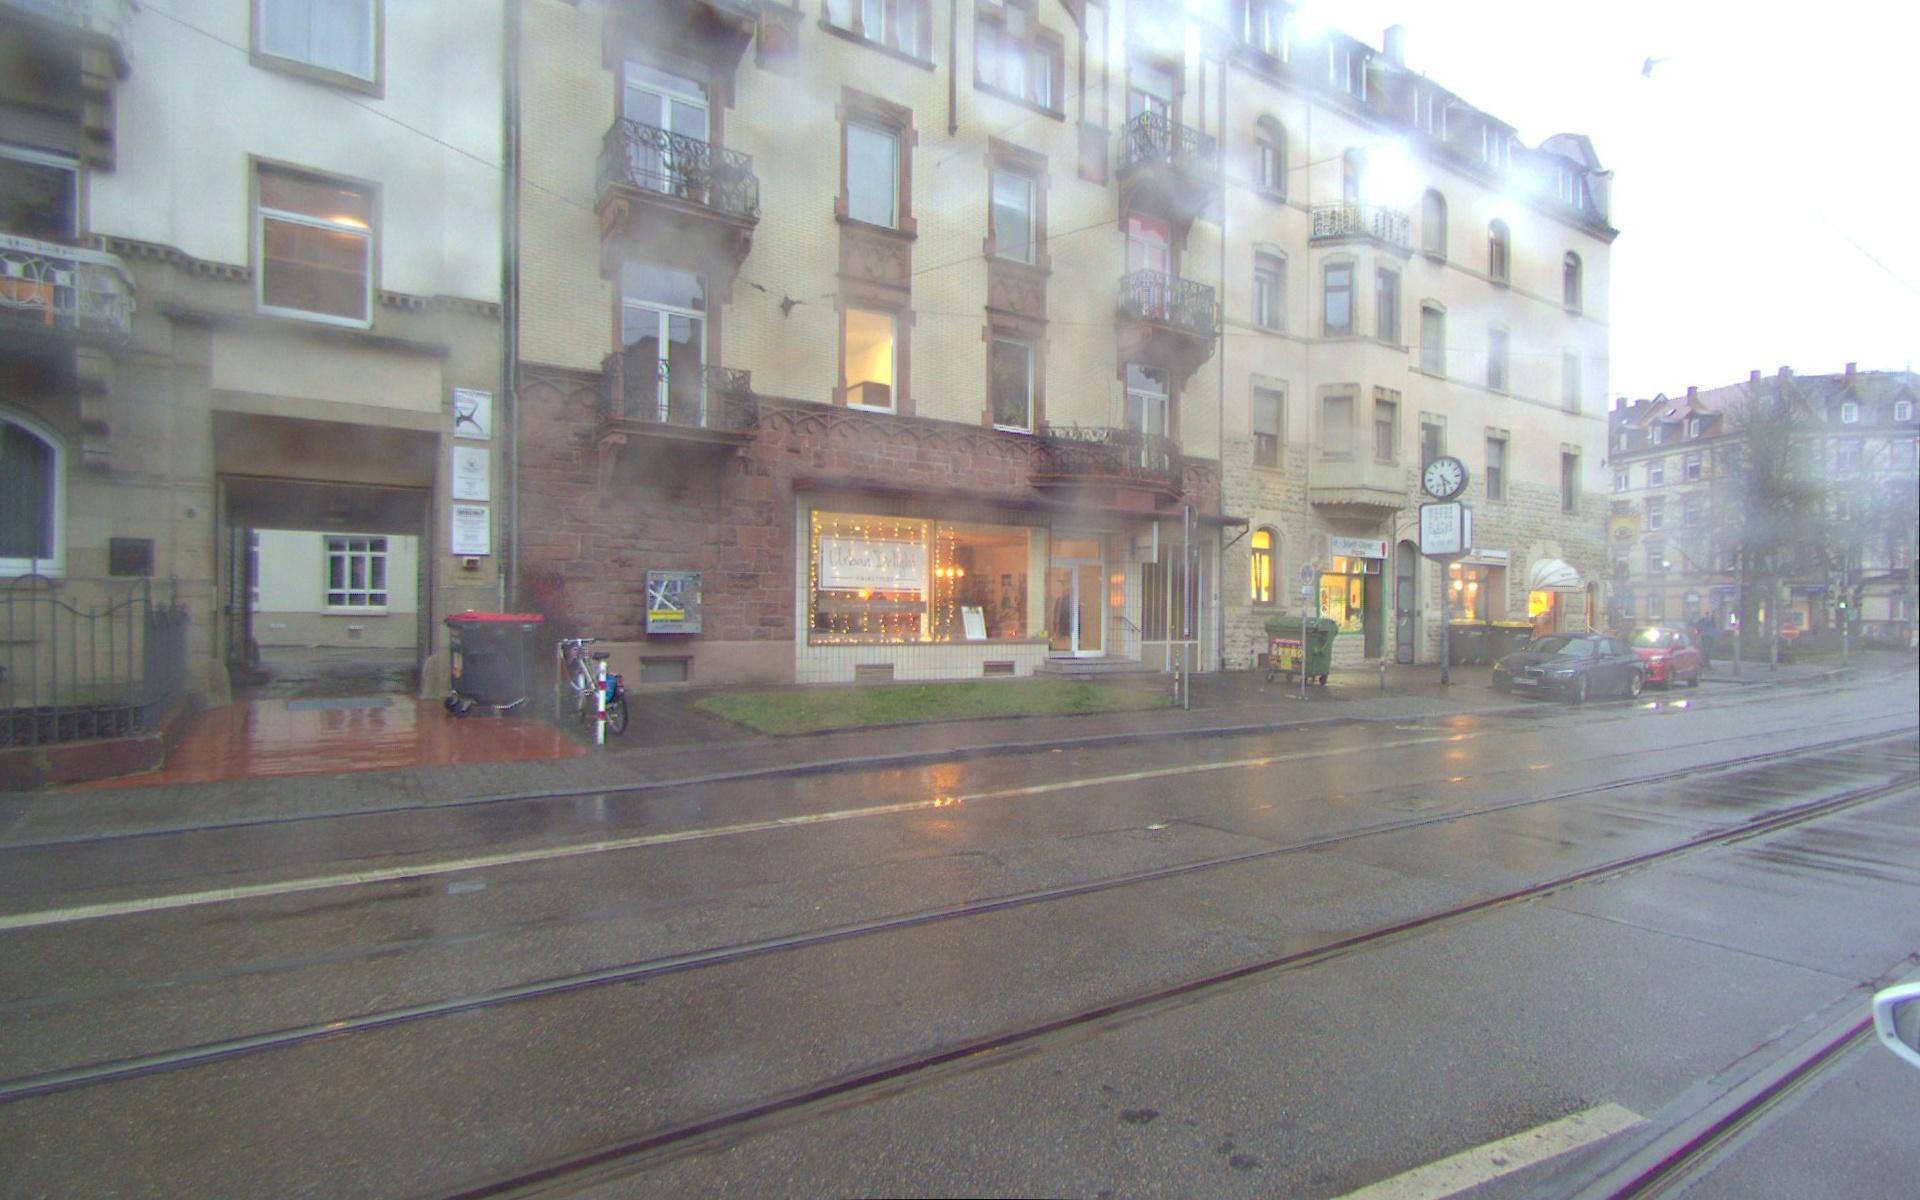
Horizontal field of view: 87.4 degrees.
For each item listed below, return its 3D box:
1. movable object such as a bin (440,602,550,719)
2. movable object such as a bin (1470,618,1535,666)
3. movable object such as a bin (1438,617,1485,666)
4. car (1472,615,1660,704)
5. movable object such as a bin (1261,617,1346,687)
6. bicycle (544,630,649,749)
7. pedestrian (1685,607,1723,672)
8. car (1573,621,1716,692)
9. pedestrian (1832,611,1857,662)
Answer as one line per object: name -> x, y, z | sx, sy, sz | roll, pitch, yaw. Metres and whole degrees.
movable object such as a bin -> -6.093, 0.754, 13.142 | 1.155, 1.398, 1.096 | 1, 2, -32
movable object such as a bin -> 16.322, 1.255, 30.217 | 1.239, 1.385, 1.286 | 1, 0, -34
movable object such as a bin -> 14.938, 1.227, 29.929 | 0.996, 1.396, 0.893 | 1, 0, -33
car -> 13.847, 1.299, 22.881 | 4.587, 1.667, 1.972 | 2, 3, -37
movable object such as a bin -> 7.470, 1.107, 21.878 | 1.236, 1.439, 1.260 | 1, 0, -33
bicycle -> -4.298, 0.978, 11.757 | 0.687, 1.120, 2.336 | 1, 1, -32
pedestrian -> 23.829, 1.261, 32.184 | 0.635, 2.040, 0.758 | 1, 0, 3
car -> 18.256, 1.423, 26.738 | 3.997, 1.573, 2.021 | 0, 3, -39
pedestrian -> 35.649, 1.450, 40.494 | 0.695, 2.040, 0.658 | 0, 0, 37
